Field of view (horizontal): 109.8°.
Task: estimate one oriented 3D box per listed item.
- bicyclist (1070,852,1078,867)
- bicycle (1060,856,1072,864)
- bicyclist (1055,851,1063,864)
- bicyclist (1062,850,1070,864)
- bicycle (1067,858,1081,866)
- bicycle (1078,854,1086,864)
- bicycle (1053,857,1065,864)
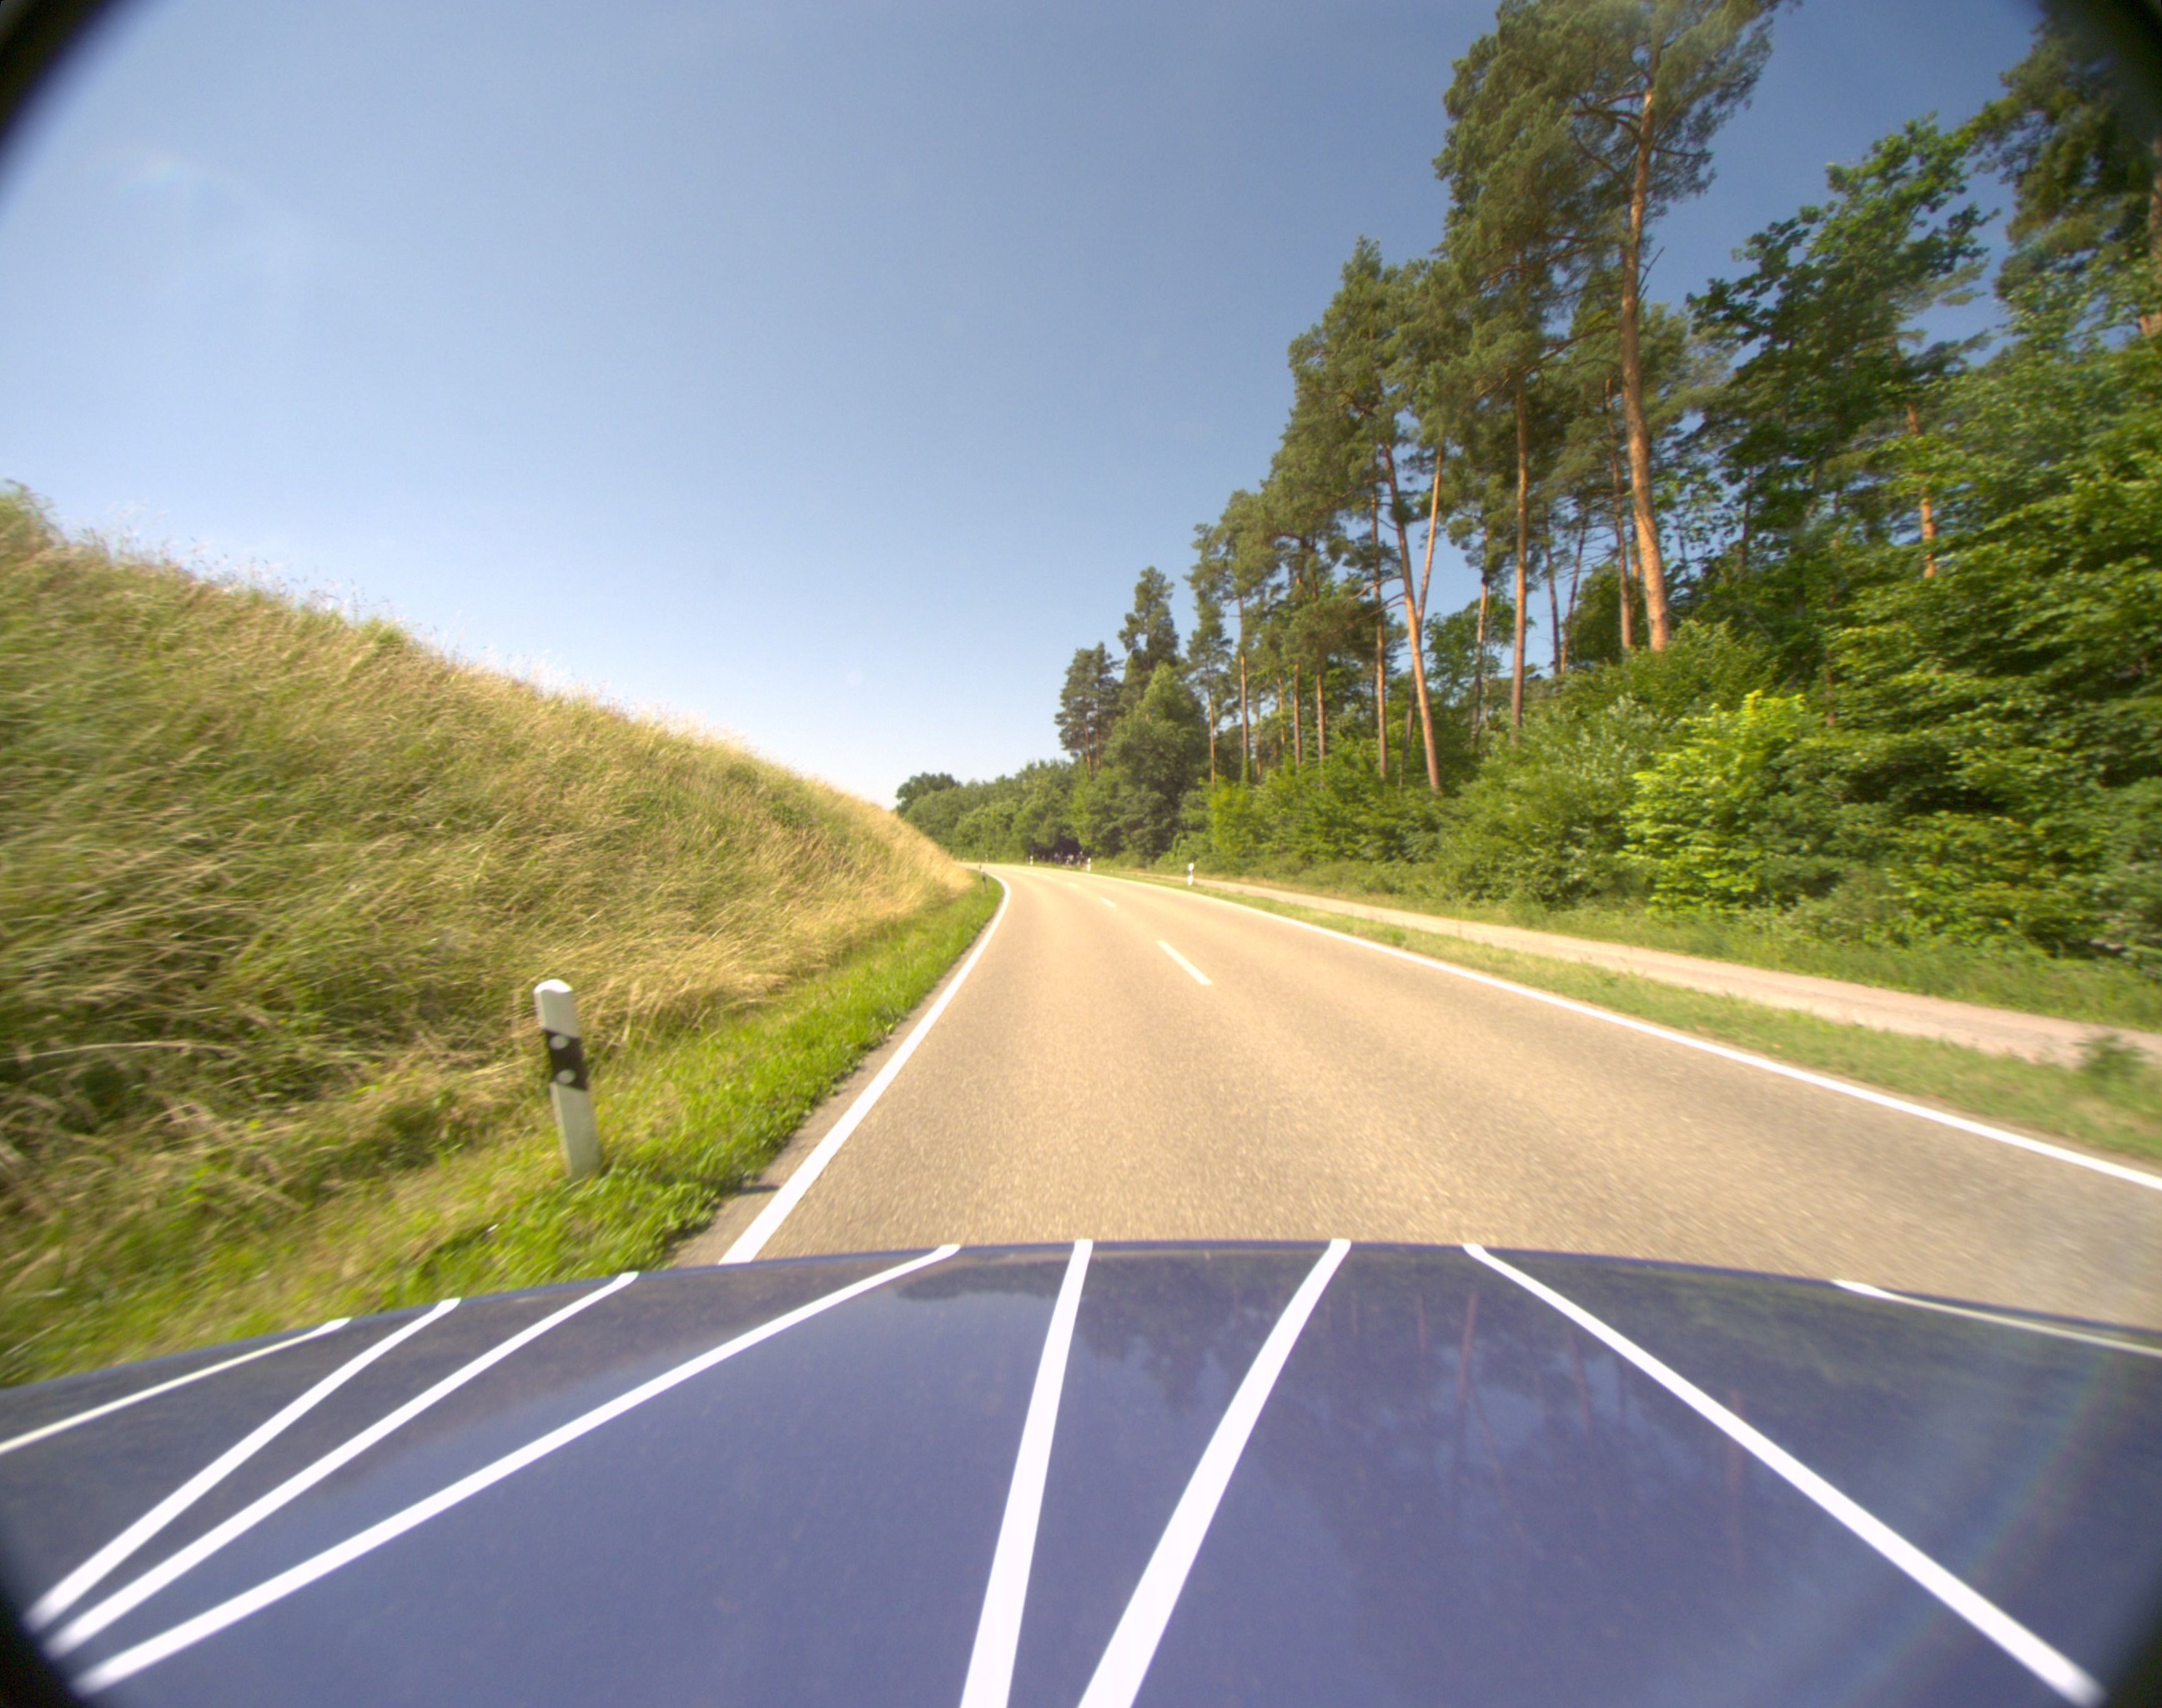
[{"bbox_3d":[-0.843,0.678,90.836,0.604,1.709,0.791,-1,3,33],"label":"bicyclist"},{"bbox_3d":[-1.843,0.774,94.318,0.604,0.825,1.988,-1,2,26],"label":"bicycle"},{"bbox_3d":[-2.716,0.461,94.765,0.604,1.536,0.873,-3,2,26],"label":"bicyclist"},{"bbox_3d":[-1.858,0.429,94.311,0.604,1.691,0.852,-1,3,26],"label":"bicyclist"},{"bbox_3d":[-0.842,0.922,90.822,0.604,0.825,1.988,-1,2,33],"label":"bicycle"},{"bbox_3d":[0.143,0.535,86.594,0.581,1.080,1.448,-3,0,11],"label":"bicycle"},{"bbox_3d":[-2.700,0.811,94.782,0.604,0.825,1.988,-3,1,26],"label":"bicycle"}]
